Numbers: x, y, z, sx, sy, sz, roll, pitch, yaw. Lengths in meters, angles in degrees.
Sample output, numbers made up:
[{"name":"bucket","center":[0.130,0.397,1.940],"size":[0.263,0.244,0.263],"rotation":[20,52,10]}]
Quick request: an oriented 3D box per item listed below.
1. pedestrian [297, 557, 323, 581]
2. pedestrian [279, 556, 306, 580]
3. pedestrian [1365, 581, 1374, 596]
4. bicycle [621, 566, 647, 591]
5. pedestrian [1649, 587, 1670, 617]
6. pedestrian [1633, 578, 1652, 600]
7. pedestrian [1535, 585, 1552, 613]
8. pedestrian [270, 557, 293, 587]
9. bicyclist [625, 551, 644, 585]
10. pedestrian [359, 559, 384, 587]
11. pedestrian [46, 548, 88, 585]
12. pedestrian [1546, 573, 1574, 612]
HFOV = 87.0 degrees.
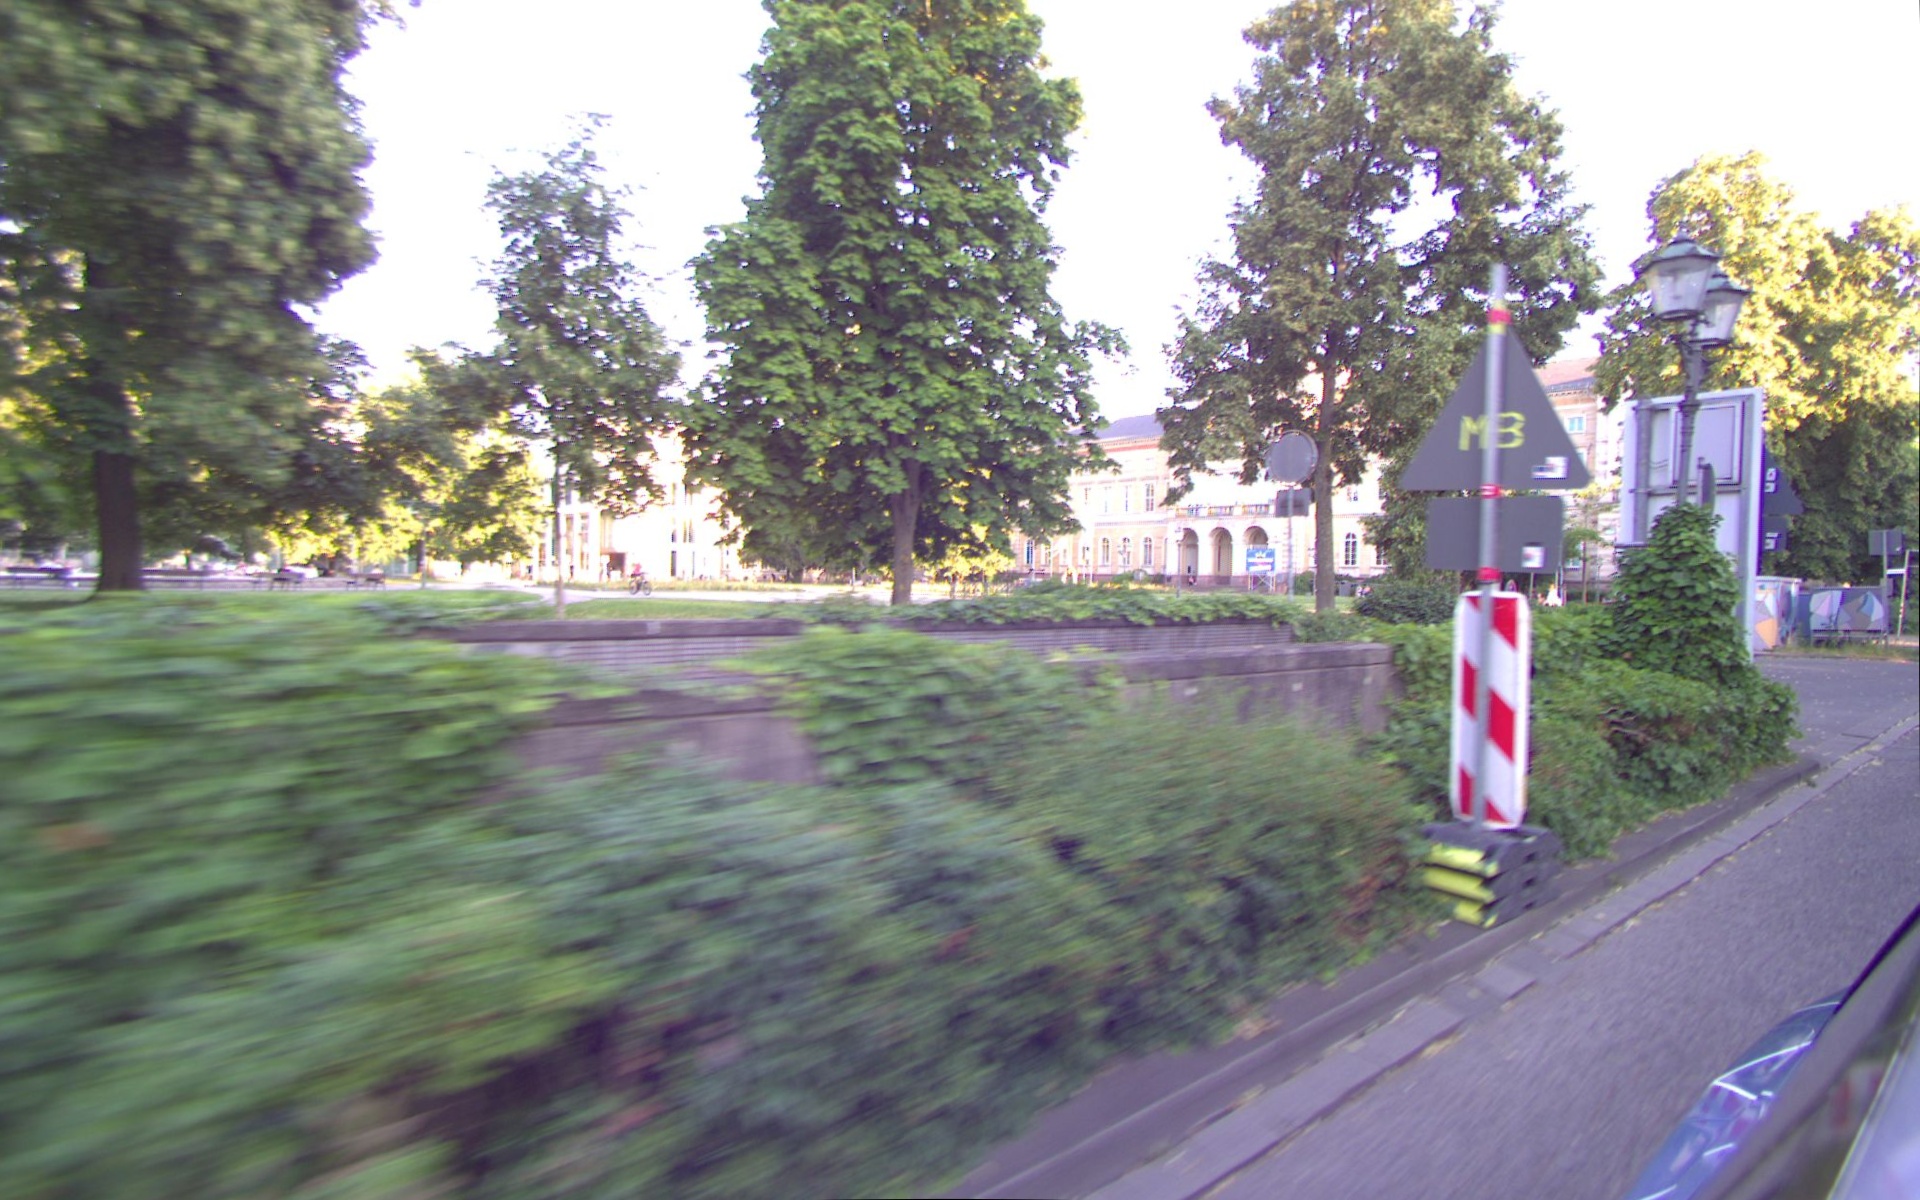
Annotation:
[{"name":"pedestrian","center":[-38.529,-1.822,60.019],"size":[0.819,1.387,1.150],"rotation":[2,0,-4]},{"name":"pedestrian","center":[-39.453,-1.875,59.835],"size":[0.819,1.387,1.150],"rotation":[2,0,-4]},{"name":"pedestrian","center":[37.072,-1.019,91.602],"size":[0.499,1.304,0.583],"rotation":[2,1,43]},{"name":"bicycle","center":[-16.190,-1.056,50.236],"size":[0.556,1.191,1.771],"rotation":[0,2,-43]},{"name":"pedestrian","center":[29.280,0.092,42.335],"size":[0.606,1.219,0.656],"rotation":[2,1,43]},{"name":"pedestrian","center":[44.816,-0.737,66.429],"size":[0.742,1.462,0.815],"rotation":[1,1,15]},{"name":"pedestrian","center":[26.084,-0.061,45.247],"size":[0.499,1.229,0.583],"rotation":[2,1,43]},{"name":"pedestrian","center":[-27.761,-1.145,41.408],"size":[0.653,1.215,1.103],"rotation":[0,2,-42]},{"name":"bicyclist","center":[-16.156,-1.589,50.202],"size":[0.648,1.652,0.676],"rotation":[0,2,-43]},{"name":"pedestrian","center":[-26.399,-1.200,45.397],"size":[0.724,1.215,1.103],"rotation":[0,2,-42]},{"name":"pedestrian","center":[-32.730,-1.213,37.110],"size":[0.826,1.308,1.070],"rotation":[2,0,-22]},{"name":"pedestrian","center":[25.658,-0.324,43.296],"size":[0.857,1.646,0.745],"rotation":[2,2,44]}]
